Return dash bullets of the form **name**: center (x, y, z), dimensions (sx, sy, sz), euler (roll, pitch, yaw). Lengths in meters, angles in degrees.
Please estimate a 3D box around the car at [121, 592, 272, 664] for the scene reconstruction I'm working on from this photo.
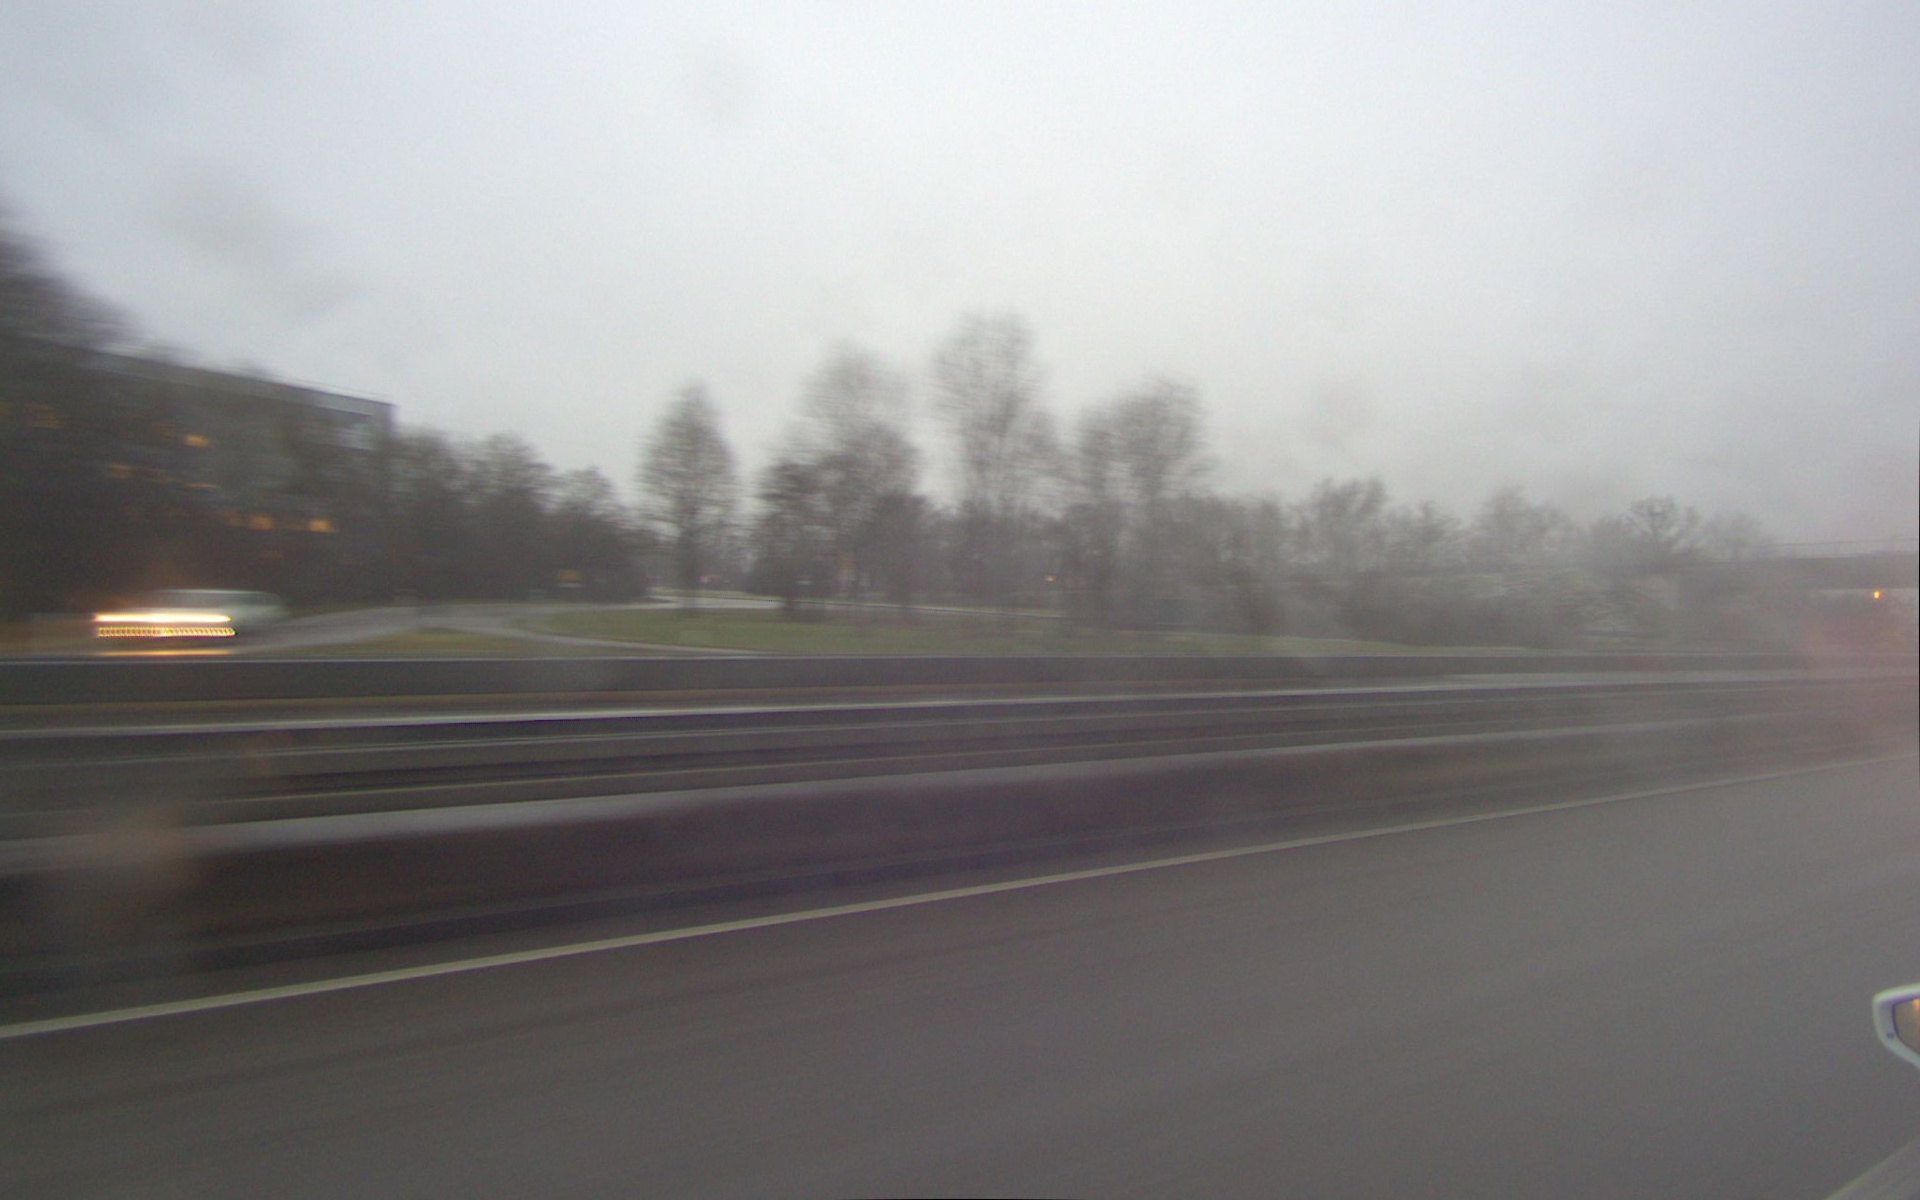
- **car**: center (-21.380, 0.736, 28.336), dimensions (1.820, 1.708, 3.990), euler (2, 2, -12)
